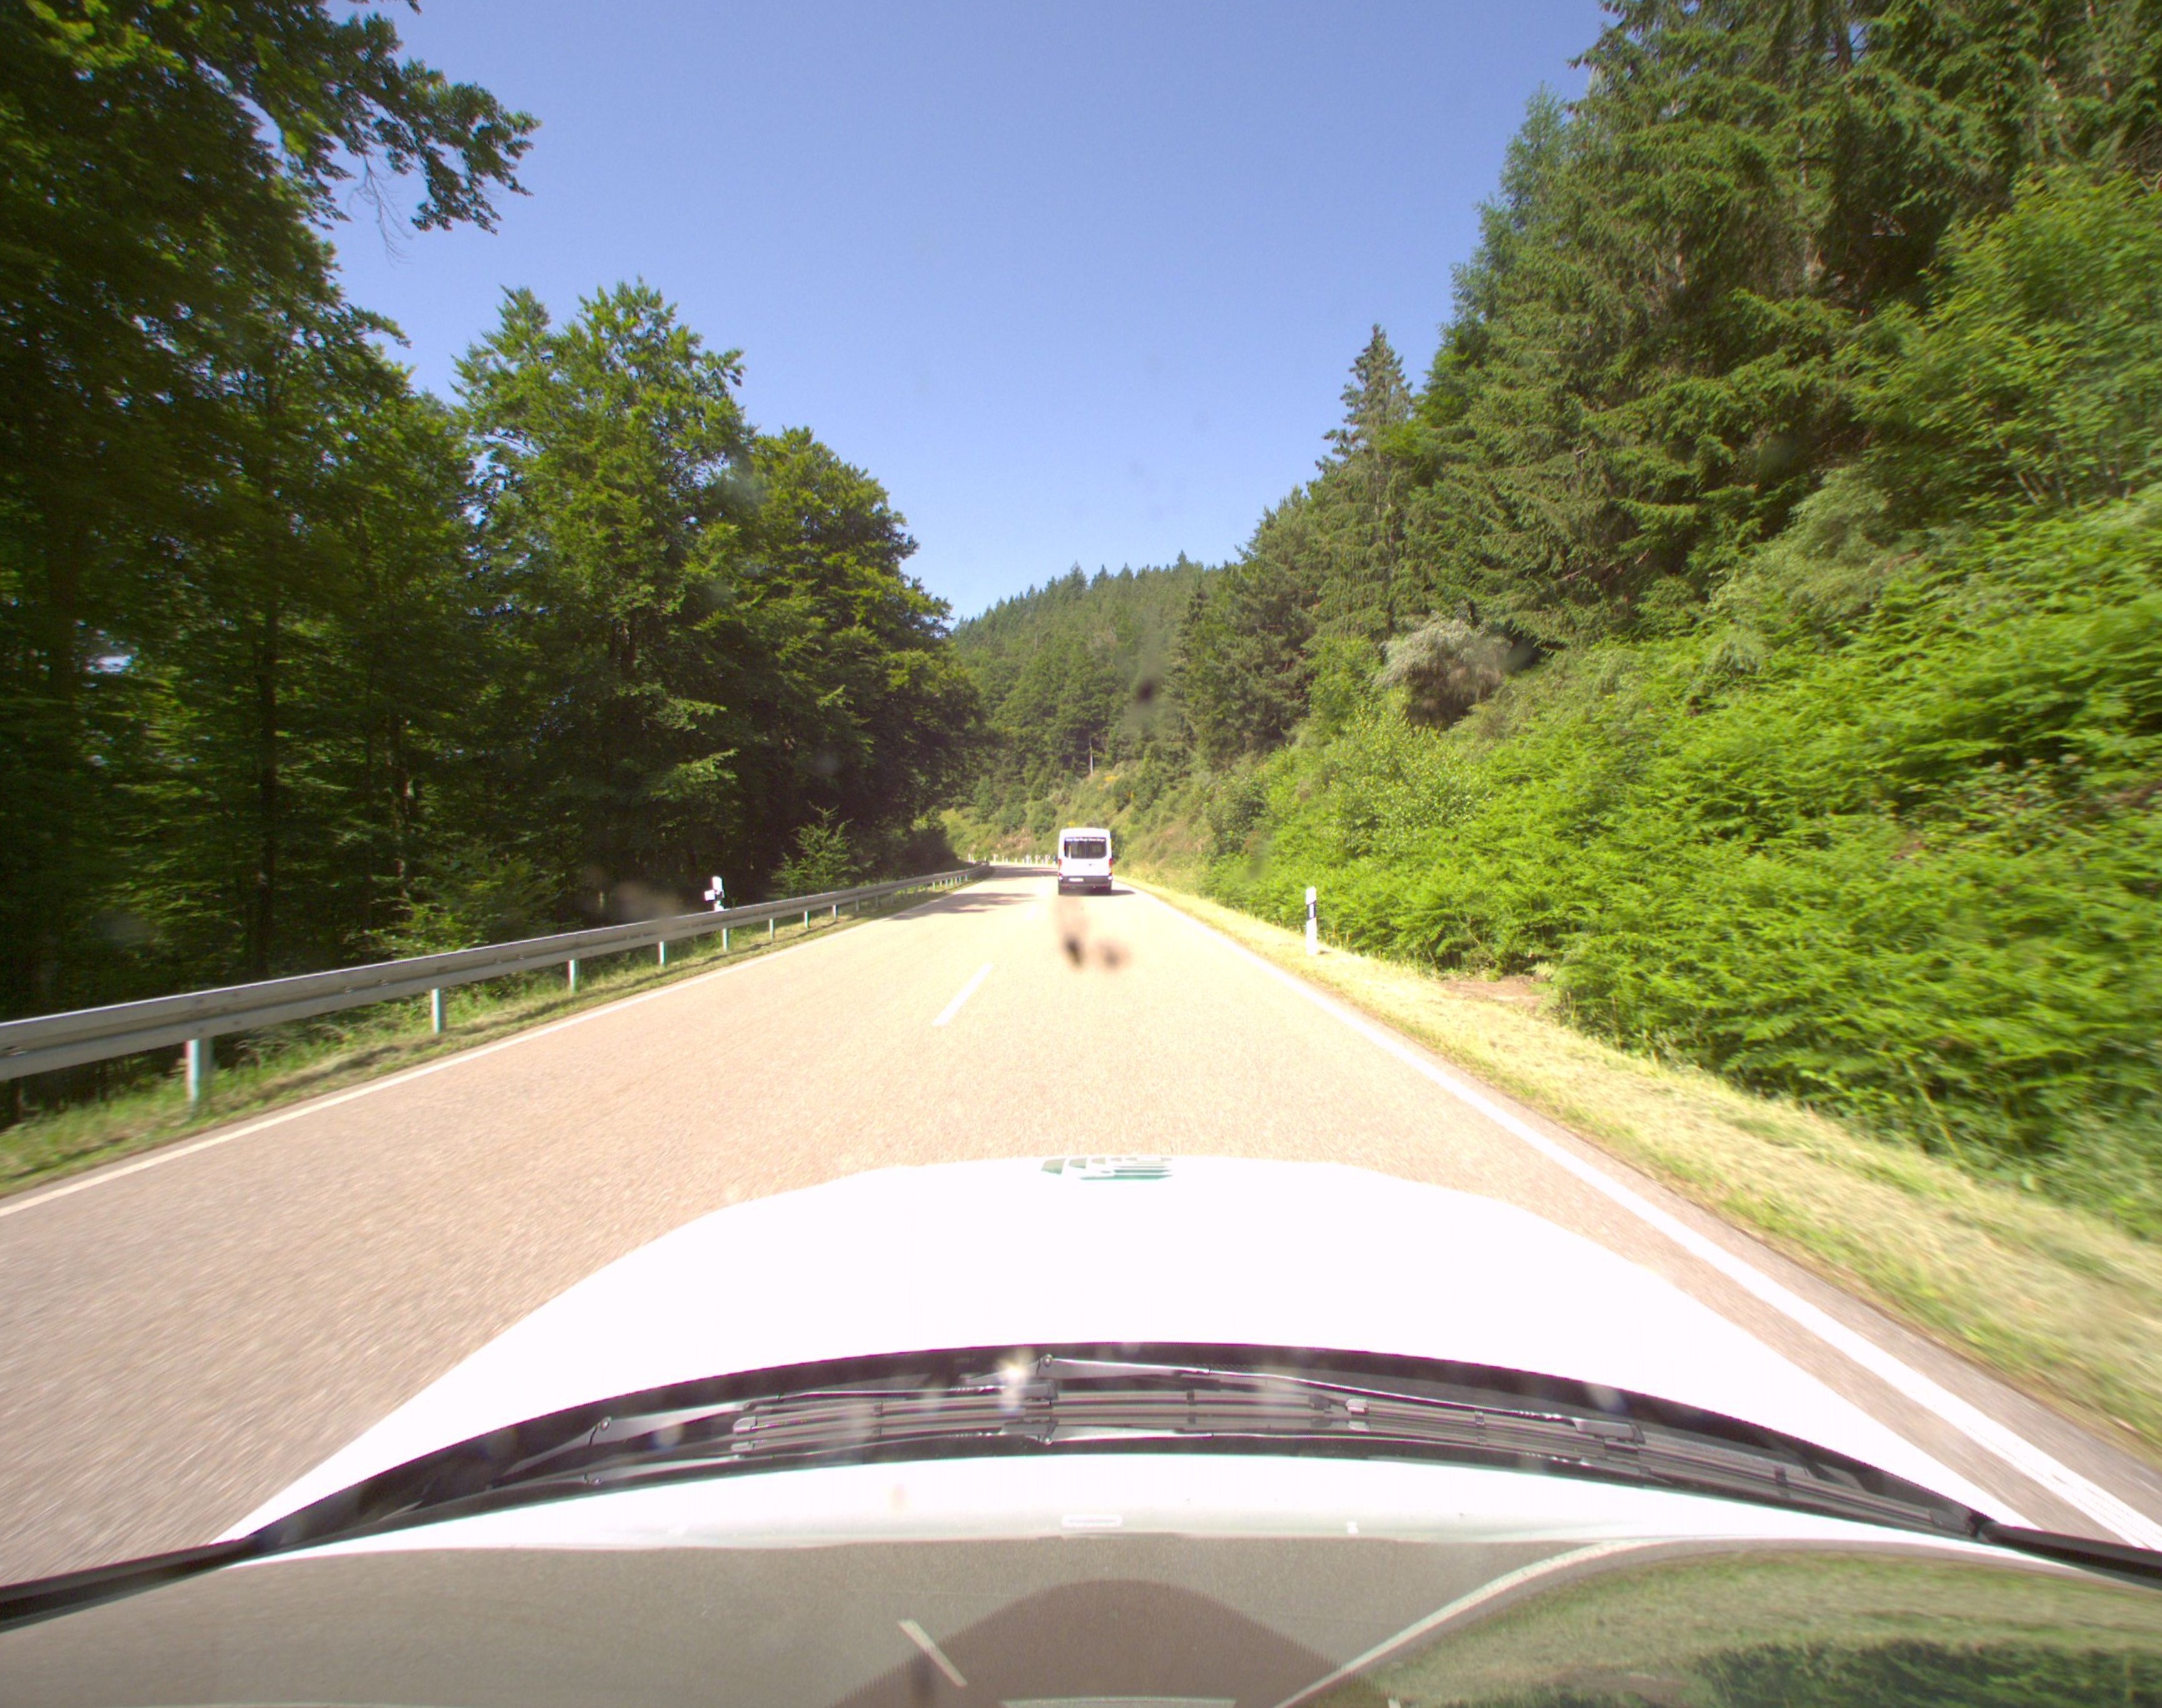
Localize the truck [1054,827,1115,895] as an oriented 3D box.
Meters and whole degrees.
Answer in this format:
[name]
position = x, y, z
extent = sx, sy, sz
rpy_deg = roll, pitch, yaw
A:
[truck]
position = 0.033, 0.253, 31.754
extent = 2.079, 2.459, 4.869
rpy_deg = 0, 0, -3
